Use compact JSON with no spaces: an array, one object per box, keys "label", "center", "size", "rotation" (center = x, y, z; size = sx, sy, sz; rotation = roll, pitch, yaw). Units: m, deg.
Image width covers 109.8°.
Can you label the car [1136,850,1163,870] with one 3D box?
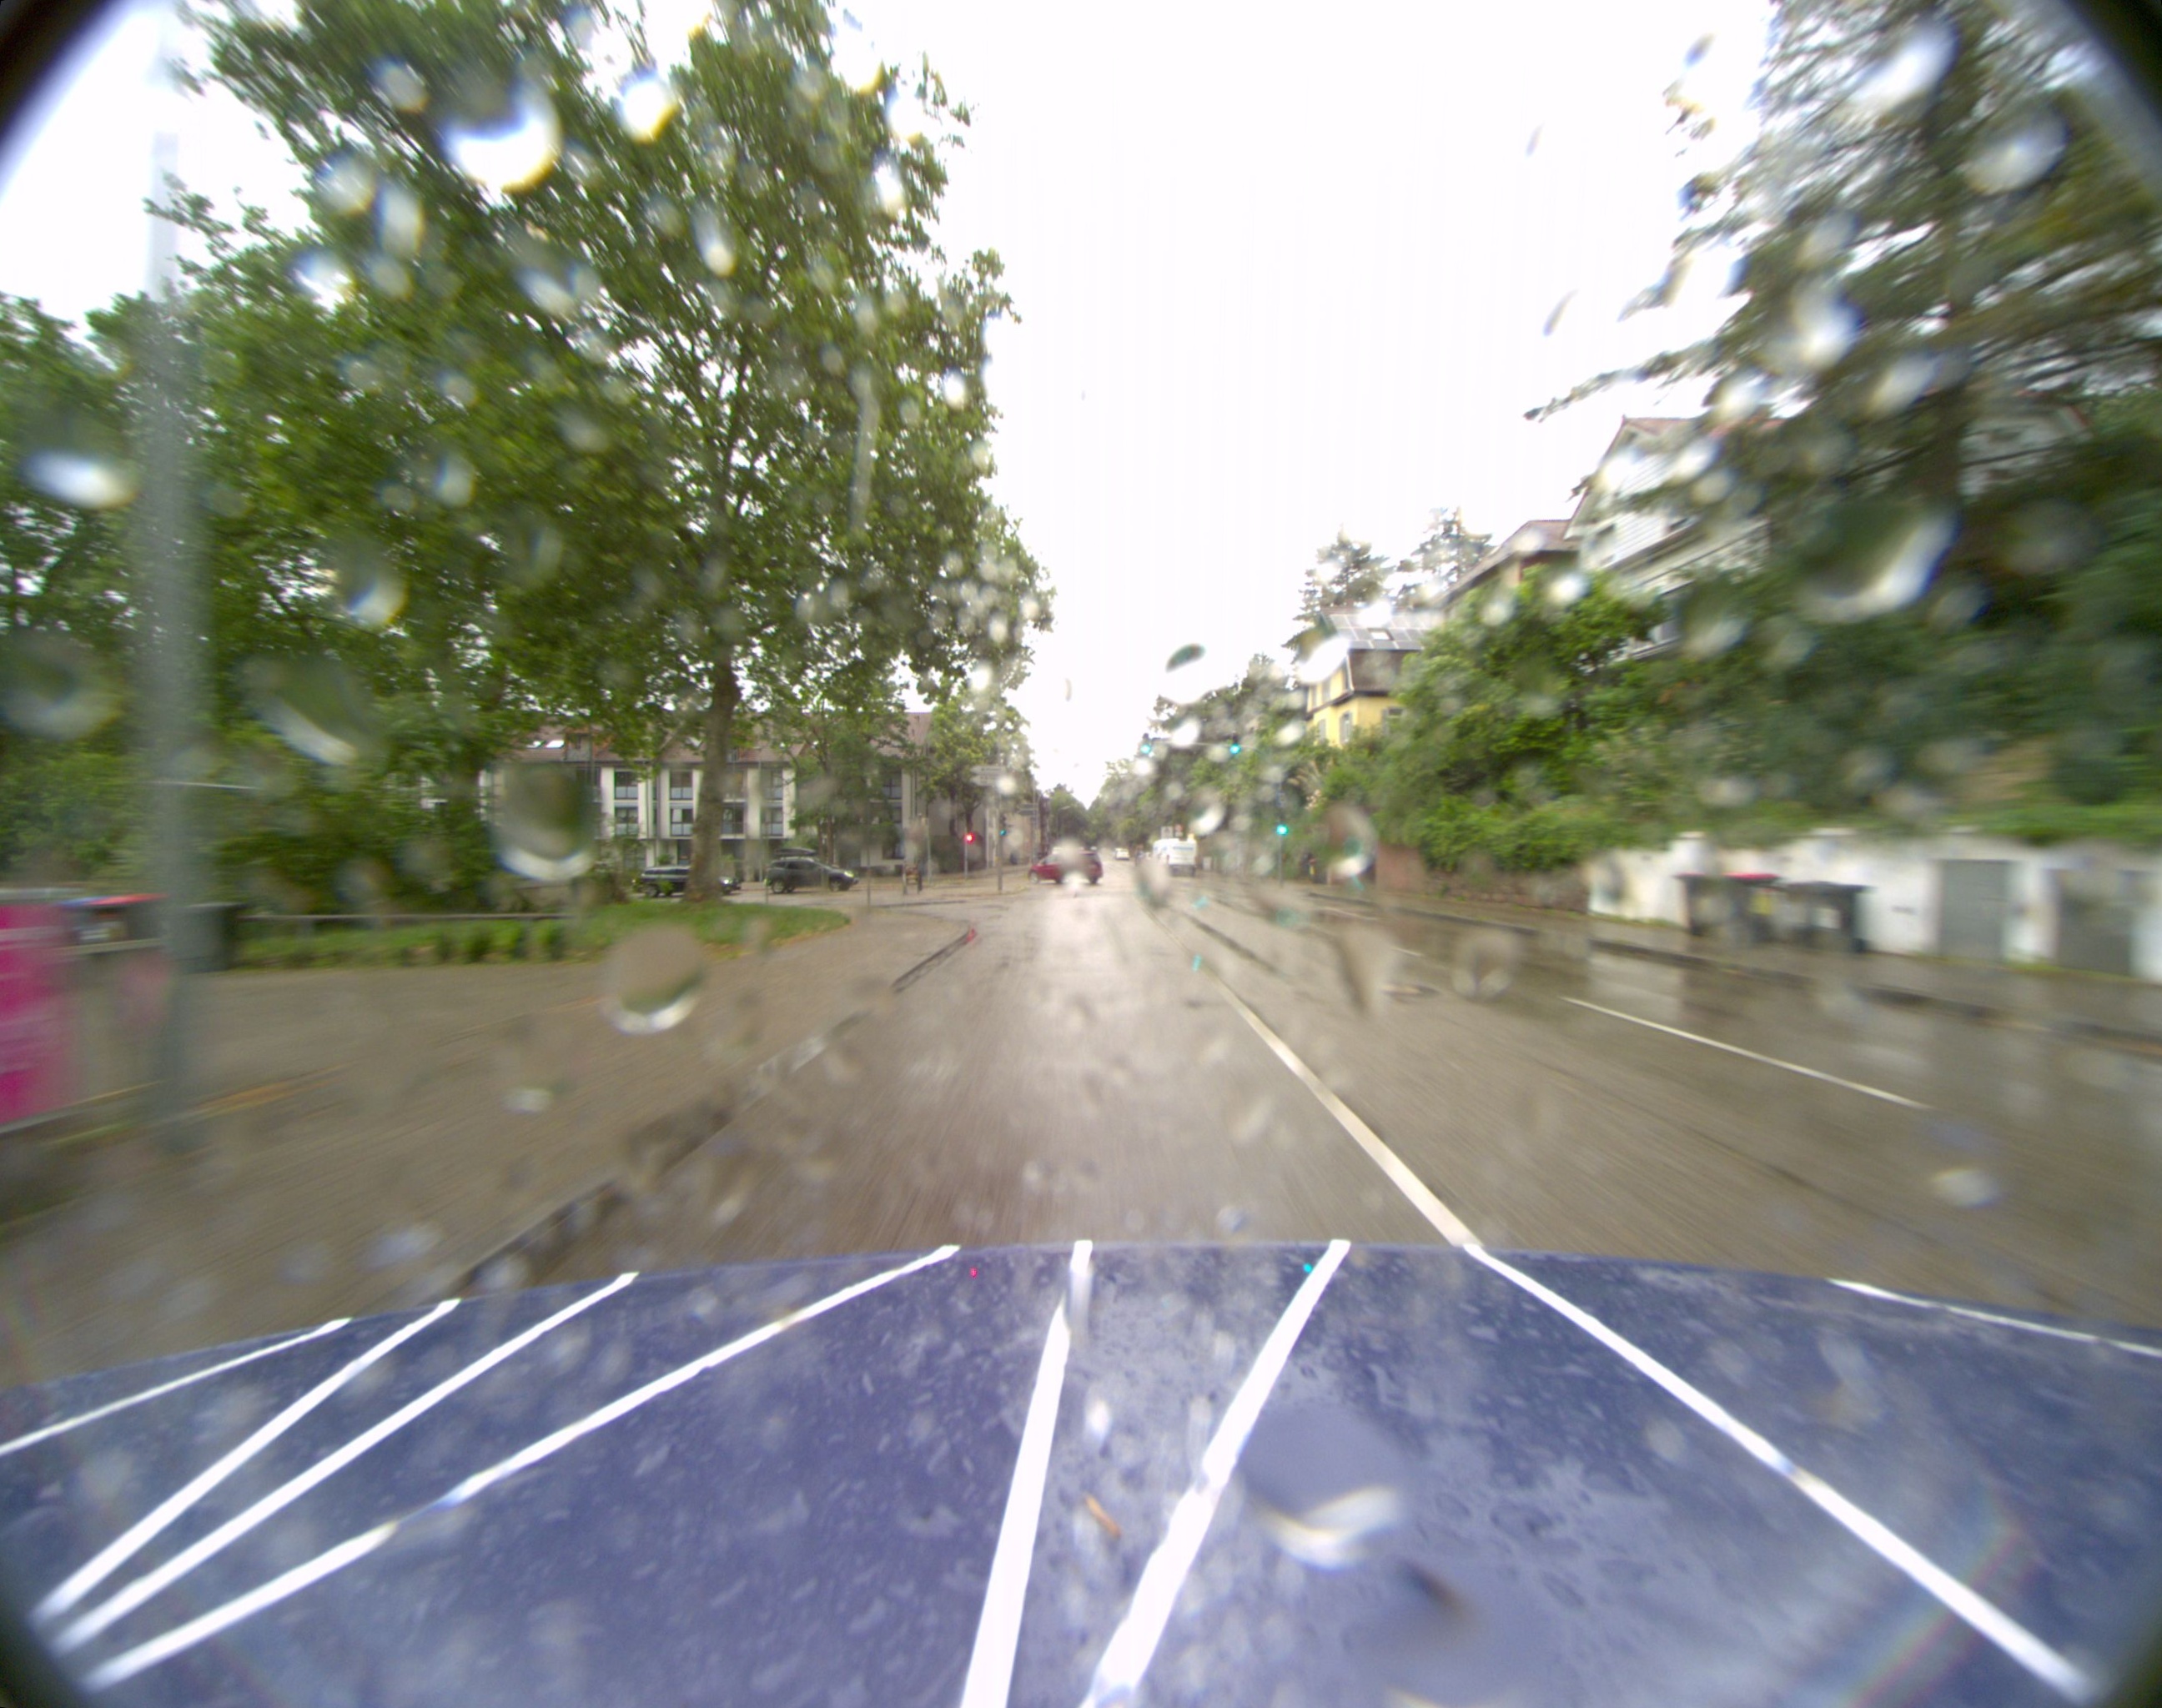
[{"label":"car","center":[6.891,0.610,76.693],"size":[2.162,1.815,4.915],"rotation":[3,1,-1]}]

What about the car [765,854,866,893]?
[{"label":"car","center":[-12.695,0.915,36.494],"size":[4.227,1.677,1.709],"rotation":[-2,1,-5]}]

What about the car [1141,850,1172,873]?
[{"label":"car","center":[6.885,0.643,69.875],"size":[2.162,1.944,4.915],"rotation":[3,1,-1]}]

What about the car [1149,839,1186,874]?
[{"label":"car","center":[6.634,0.146,58.948],"size":[2.162,2.454,4.915],"rotation":[3,1,-1]}]

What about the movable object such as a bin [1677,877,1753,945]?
[{"label":"movable object such as a bin","center":[10.211,0.906,12.259],"size":[0.683,1.034,0.657],"rotation":[-1,1,-2]}]

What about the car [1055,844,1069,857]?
[{"label":"car","center":[-2.759,-0.501,109.666],"size":[1.925,1.889,3.999],"rotation":[-1,1,0]}]

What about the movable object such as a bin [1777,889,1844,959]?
[{"label":"movable object such as a bin","center":[10.239,0.976,10.670],"size":[0.544,0.935,0.416],"rotation":[-1,1,-2]}]

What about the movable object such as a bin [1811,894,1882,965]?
[{"label":"movable object such as a bin","center":[10.279,1.004,10.215],"size":[0.532,0.893,0.416],"rotation":[-1,1,-2]}]

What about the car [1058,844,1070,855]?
[{"label":"car","center":[-2.846,-0.773,128.822],"size":[1.925,1.889,3.999],"rotation":[-1,1,0]}]

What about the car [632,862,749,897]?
[{"label":"car","center":[-18.434,1.185,36.028],"size":[4.623,1.438,1.609],"rotation":[-1,3,-5]}]

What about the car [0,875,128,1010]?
[{"label":"car","center":[-13.586,1.034,8.613],"size":[3.339,1.438,1.674],"rotation":[-1,1,-1]}]

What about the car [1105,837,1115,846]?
[{"label":"car","center":[6.589,-2.892,173.361],"size":[1.924,1.889,4.001],"rotation":[-1,1,5]}]

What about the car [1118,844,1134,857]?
[{"label":"car","center":[6.097,-0.511,103.538],"size":[1.925,1.747,3.999],"rotation":[-1,1,0]}]

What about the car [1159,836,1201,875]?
[{"label":"car","center":[6.789,0.077,52.600],"size":[2.085,2.464,4.852],"rotation":[3,1,-1]}]

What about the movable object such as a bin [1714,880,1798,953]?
[{"label":"movable object such as a bin","center":[10.164,0.925,11.461],"size":[0.683,1.034,0.657],"rotation":[-1,1,-2]}]

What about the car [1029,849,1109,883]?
[{"label":"car","center":[-0.655,0.582,38.480],"size":[1.798,1.600,4.081],"rotation":[-1,1,-43]}]
